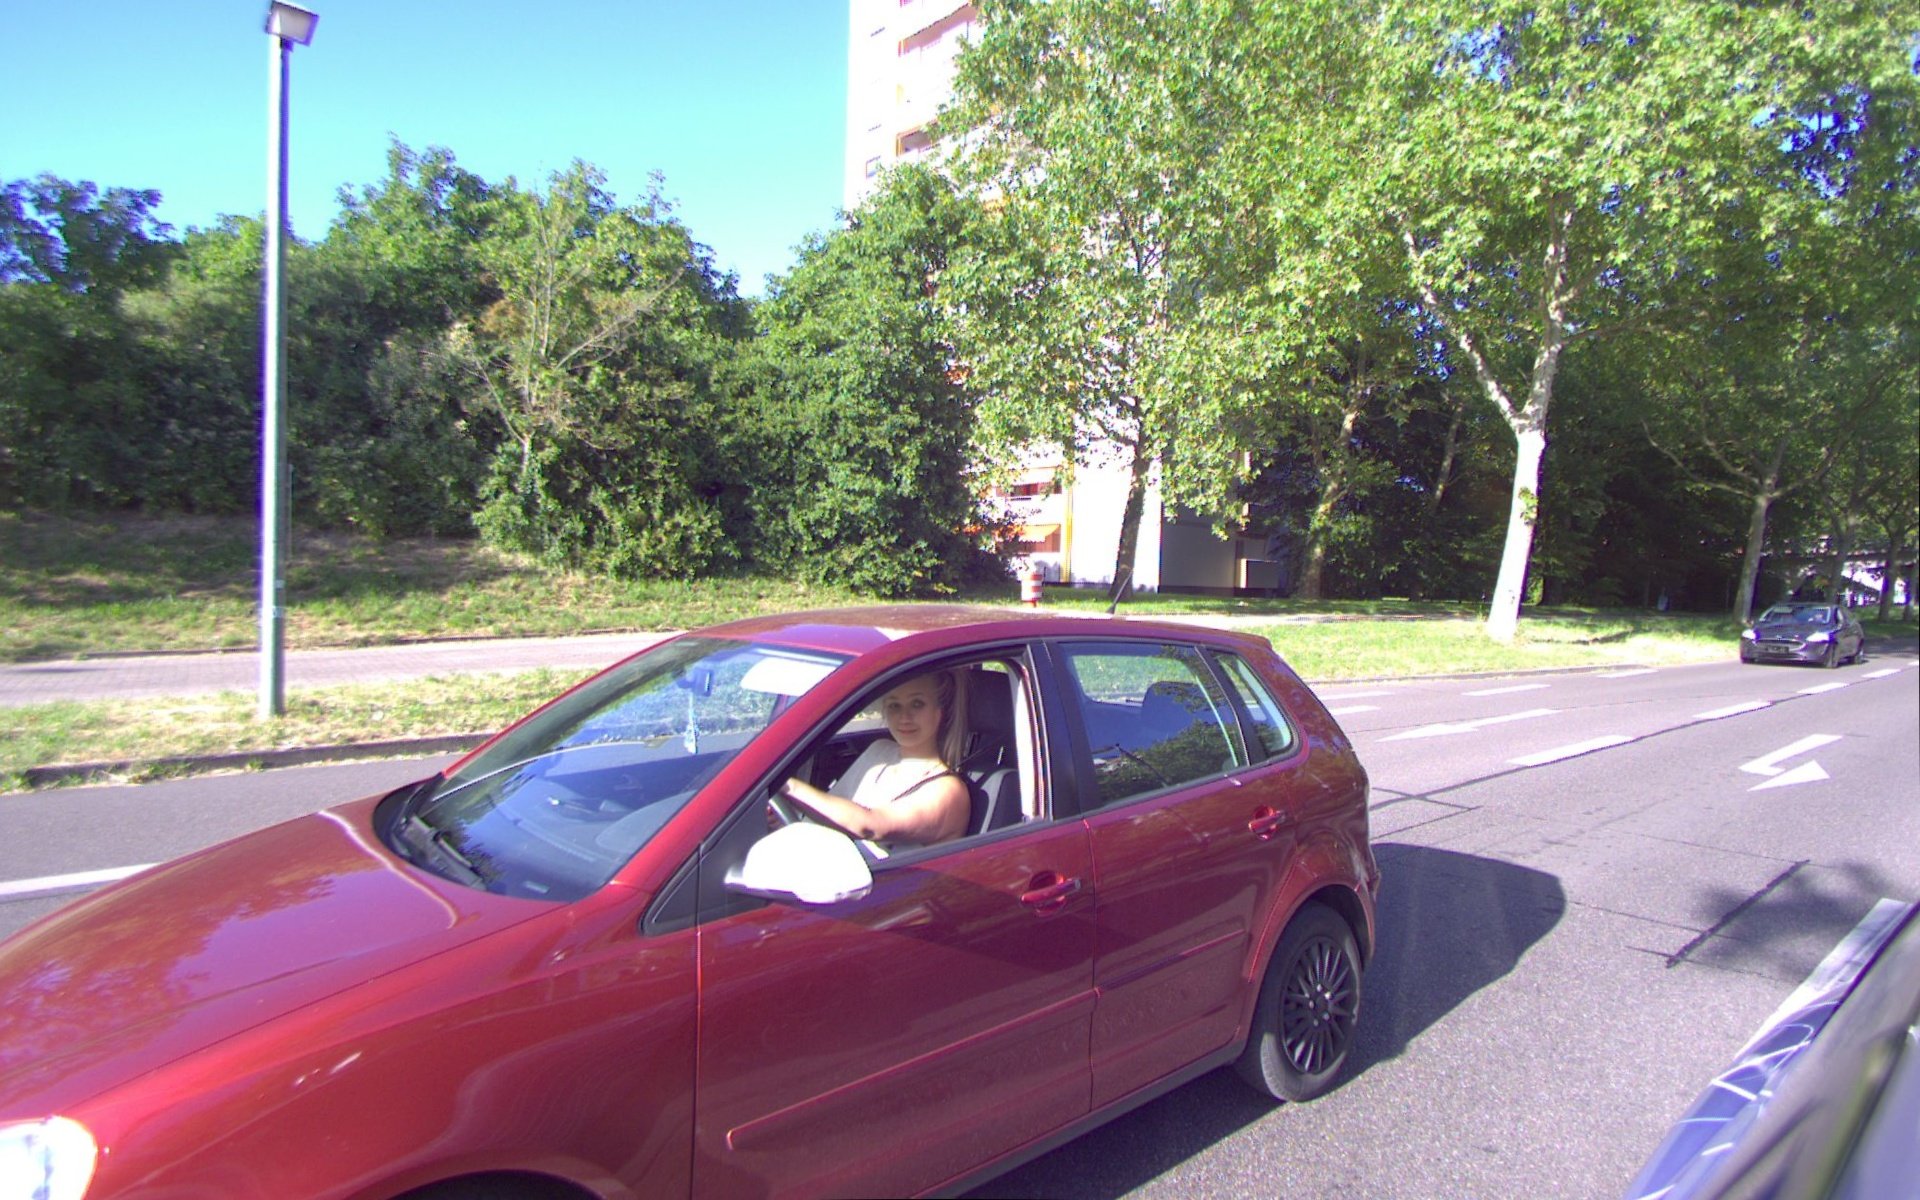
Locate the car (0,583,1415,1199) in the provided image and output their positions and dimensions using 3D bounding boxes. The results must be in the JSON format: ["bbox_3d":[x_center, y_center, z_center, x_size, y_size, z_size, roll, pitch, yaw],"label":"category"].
[{"bbox_3d":[-0.459,0.693,2.759,3.627,1.434,1.626,0,1,-39],"label":"car"}]

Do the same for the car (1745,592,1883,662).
[{"bbox_3d":[20.030,0.570,23.701,3.822,1.487,1.750,0,1,-39],"label":"car"}]
